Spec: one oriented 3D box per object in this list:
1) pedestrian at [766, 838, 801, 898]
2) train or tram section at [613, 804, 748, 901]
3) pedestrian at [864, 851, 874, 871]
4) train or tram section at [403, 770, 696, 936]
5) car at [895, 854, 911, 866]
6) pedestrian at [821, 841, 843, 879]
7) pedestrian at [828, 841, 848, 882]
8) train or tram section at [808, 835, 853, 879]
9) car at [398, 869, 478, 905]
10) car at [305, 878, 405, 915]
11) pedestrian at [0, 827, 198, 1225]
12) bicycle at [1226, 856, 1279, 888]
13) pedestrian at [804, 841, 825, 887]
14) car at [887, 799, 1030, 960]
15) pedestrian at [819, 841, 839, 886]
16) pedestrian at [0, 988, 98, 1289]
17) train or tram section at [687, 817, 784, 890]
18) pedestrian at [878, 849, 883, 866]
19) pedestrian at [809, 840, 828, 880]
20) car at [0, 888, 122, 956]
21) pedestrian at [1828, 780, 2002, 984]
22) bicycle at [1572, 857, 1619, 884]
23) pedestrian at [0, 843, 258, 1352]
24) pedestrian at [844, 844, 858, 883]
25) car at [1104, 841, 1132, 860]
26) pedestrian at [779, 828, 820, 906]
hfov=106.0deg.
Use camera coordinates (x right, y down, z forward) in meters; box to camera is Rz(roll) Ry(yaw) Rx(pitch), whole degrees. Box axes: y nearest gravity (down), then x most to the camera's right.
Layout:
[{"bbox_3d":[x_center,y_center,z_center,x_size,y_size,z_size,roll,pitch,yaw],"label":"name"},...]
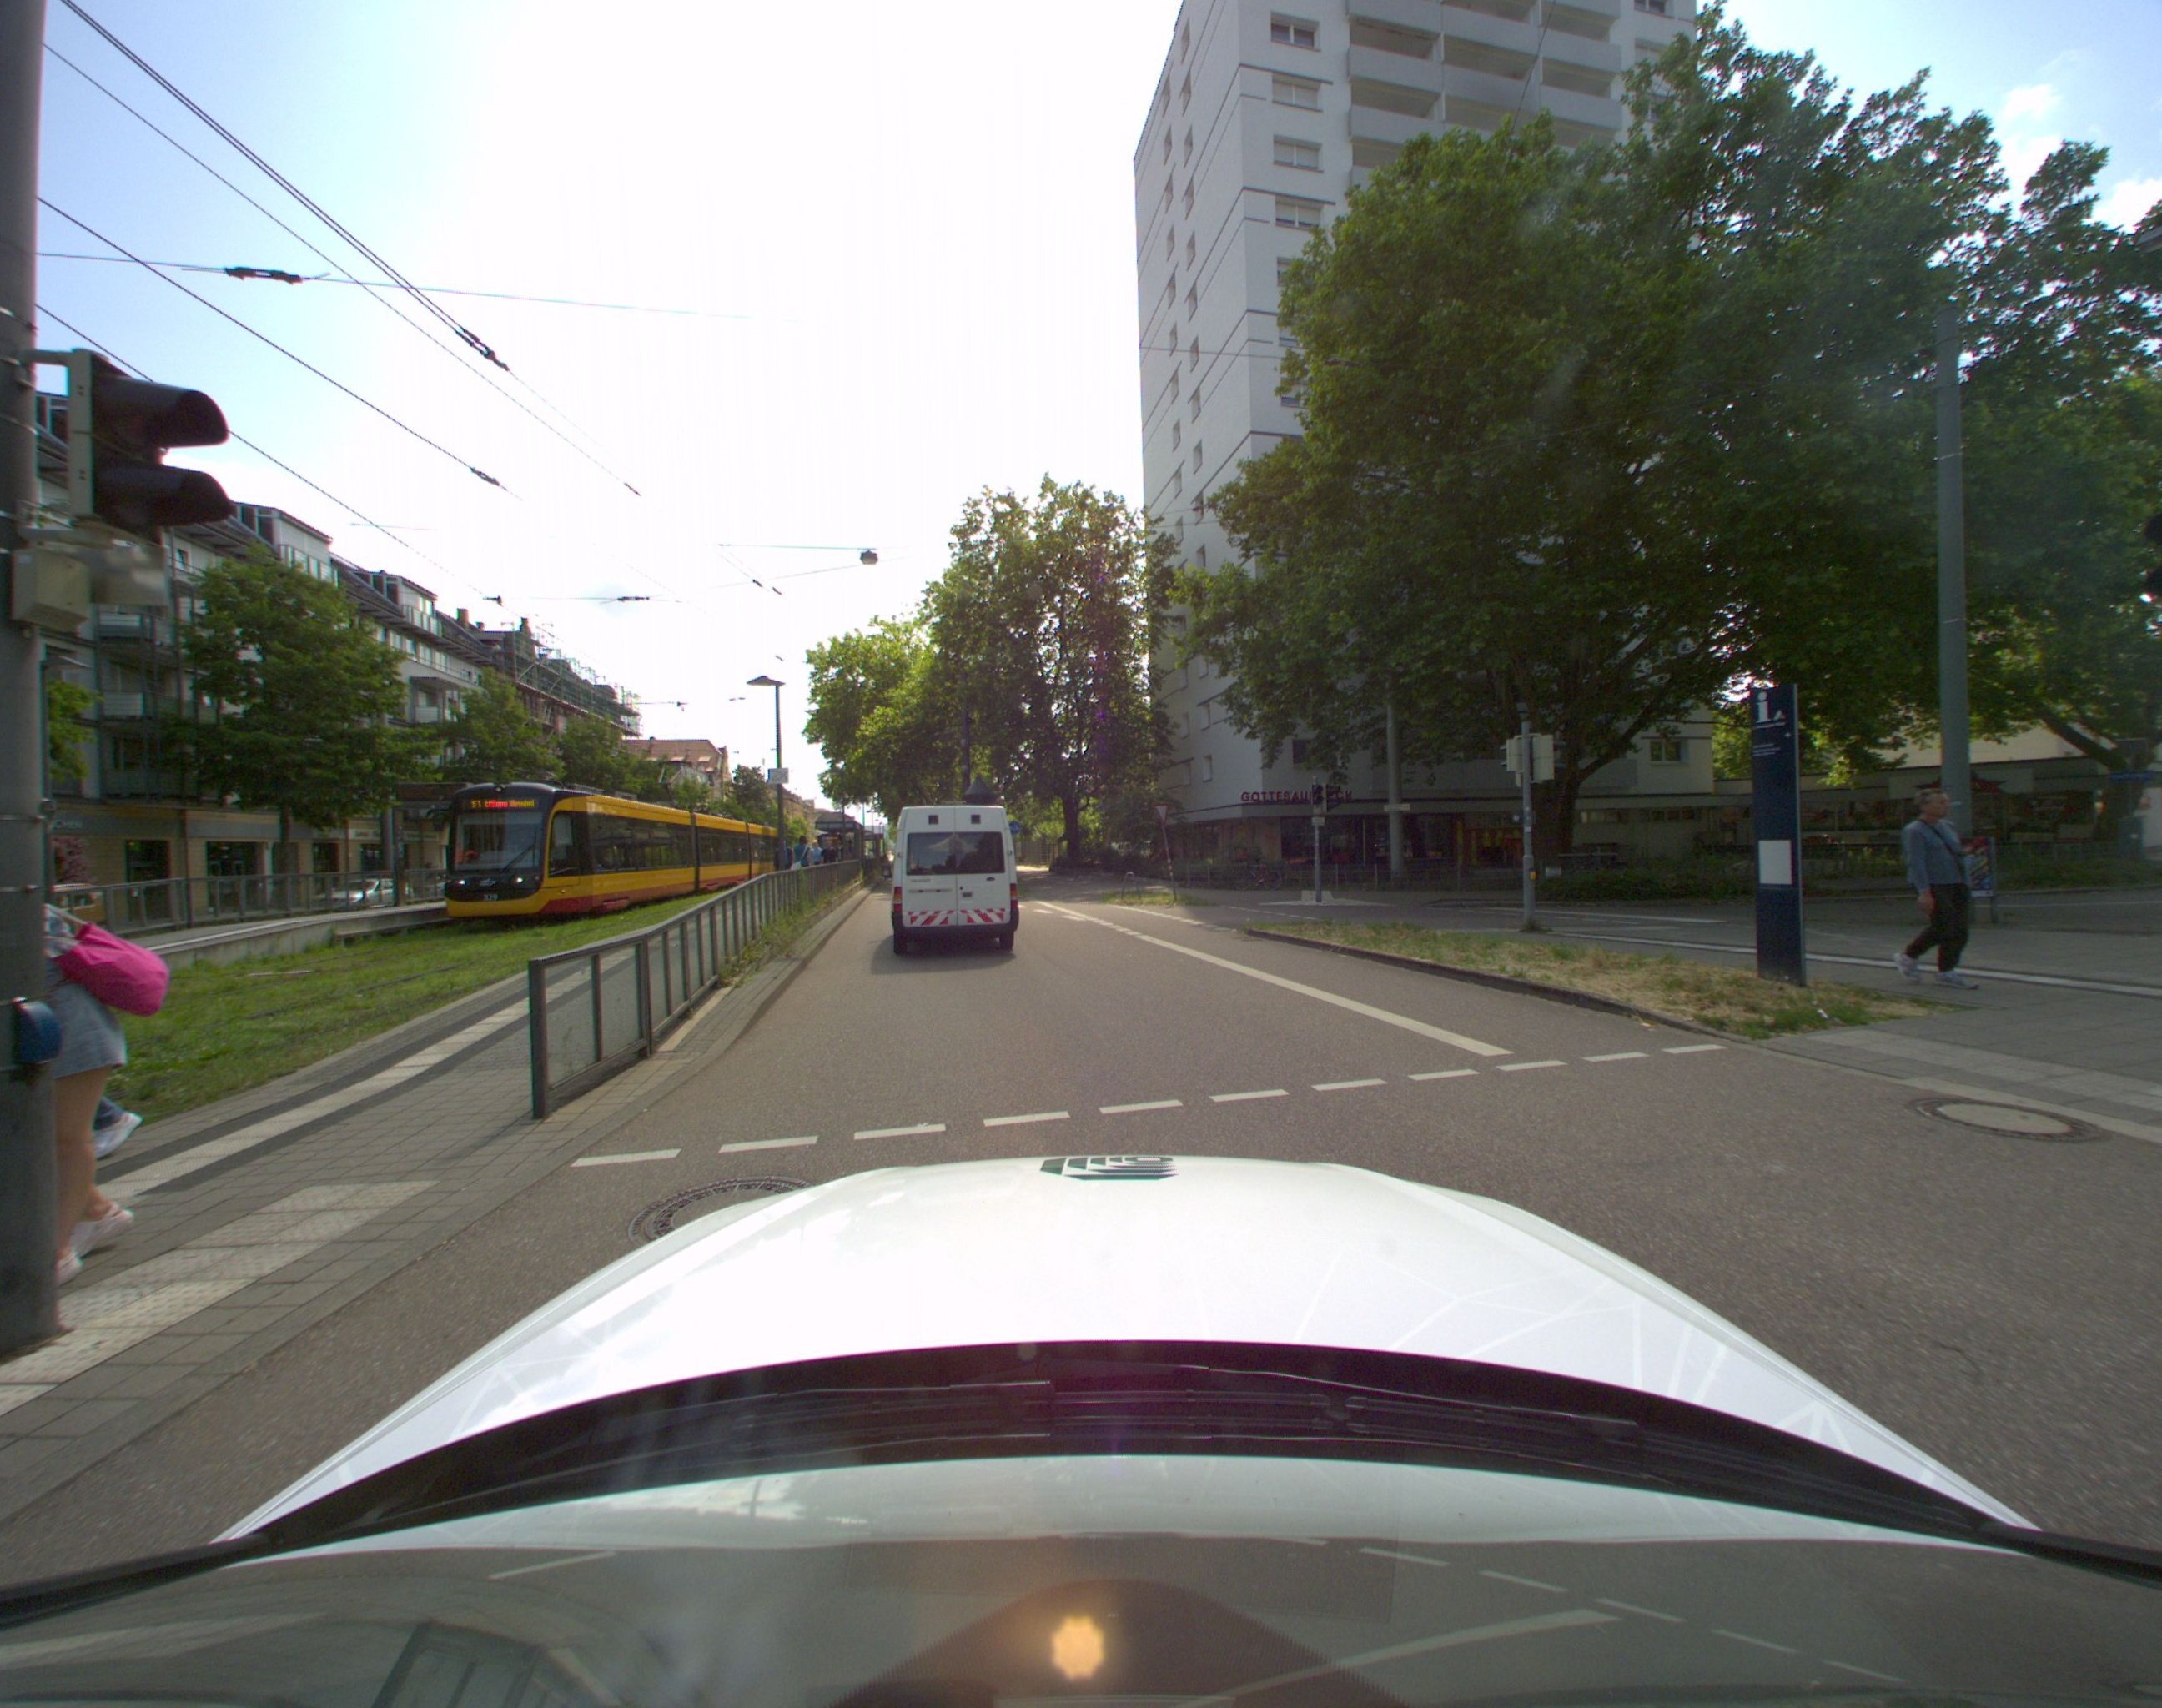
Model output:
[{"bbox_3d":[-9.031,0.420,24.757,0.858,1.775,0.873,-2,0,-13],"label":"pedestrian"},{"bbox_3d":[-17.124,-0.074,35.707,2.798,3.584,10.359,-1,0,-12],"label":"train or tram section"},{"bbox_3d":[-16.239,0.521,62.493,0.676,1.515,0.593,-2,0,-14],"label":"pedestrian"},{"bbox_3d":[-14.649,-0.065,24.288,2.810,3.584,12.960,-1,0,-12],"label":"train or tram section"},{"bbox_3d":[-24.413,0.806,111.603,1.820,1.492,3.977,-2,0,-17],"label":"car"},{"bbox_3d":[-12.213,0.270,39.996,0.887,1.800,1.488,-2,0,-13],"label":"pedestrian"},{"bbox_3d":[-11.473,0.356,38.481,0.811,1.872,1.026,-2,0,-13],"label":"pedestrian"},{"bbox_3d":[-22.843,0.246,74.808,2.726,3.584,12.960,-1,0,-12],"label":"train or tram section"},{"bbox_3d":[-32.789,1.658,41.655,1.721,1.609,3.675,-2,1,-13],"label":"car"},{"bbox_3d":[-31.476,1.803,35.437,1.721,1.371,3.462,-2,1,-13],"label":"car"},{"bbox_3d":[-5.368,0.778,4.034,0.849,1.780,1.040,-2,0,-12],"label":"pedestrian"},{"bbox_3d":[5.810,0.615,27.587,1.710,1.009,0.536,-2,0,14],"label":"bicycle"},{"bbox_3d":[-11.053,0.422,33.759,0.702,1.849,0.904,-2,0,-13],"label":"pedestrian"},{"bbox_3d":[-2.254,0.355,14.525,2.048,2.333,4.696,-2,1,-11],"label":"car"},{"bbox_3d":[-10.479,0.386,33.899,0.702,1.849,0.785,-2,0,-13],"label":"pedestrian"},{"bbox_3d":[-4.205,1.079,3.080,0.417,1.063,0.437,-2,0,6],"label":"pedestrian"},{"bbox_3d":[-19.591,-0.052,47.120,2.726,3.584,12.960,-1,0,-12],"label":"train or tram section"},{"bbox_3d":[-18.919,0.350,76.900,0.386,1.591,0.437,-2,0,-13],"label":"pedestrian"},{"bbox_3d":[-12.282,0.276,38.107,0.712,1.800,1.127,-2,0,-13],"label":"pedestrian"},{"bbox_3d":[-28.660,1.820,22.093,1.655,1.578,3.460,-2,1,-14],"label":"car"},{"bbox_3d":[7.802,0.239,7.659,0.692,1.783,0.884,-2,0,-10],"label":"pedestrian"},{"bbox_3d":[15.674,0.499,24.817,1.202,0.796,0.298,-2,0,4],"label":"bicycle"},{"bbox_3d":[-3.757,0.802,3.045,0.620,1.665,0.678,-2,0,10],"label":"pedestrian"},{"bbox_3d":[-11.526,0.463,40.815,0.474,1.900,0.531,-2,0,-37],"label":"pedestrian"},{"bbox_3d":[3.618,-0.351,79.856,1.808,1.814,4.323,-2,0,-11],"label":"car"},{"bbox_3d":[-7.049,0.312,20.438,0.828,1.899,0.843,-2,0,-13],"label":"pedestrian"}]
